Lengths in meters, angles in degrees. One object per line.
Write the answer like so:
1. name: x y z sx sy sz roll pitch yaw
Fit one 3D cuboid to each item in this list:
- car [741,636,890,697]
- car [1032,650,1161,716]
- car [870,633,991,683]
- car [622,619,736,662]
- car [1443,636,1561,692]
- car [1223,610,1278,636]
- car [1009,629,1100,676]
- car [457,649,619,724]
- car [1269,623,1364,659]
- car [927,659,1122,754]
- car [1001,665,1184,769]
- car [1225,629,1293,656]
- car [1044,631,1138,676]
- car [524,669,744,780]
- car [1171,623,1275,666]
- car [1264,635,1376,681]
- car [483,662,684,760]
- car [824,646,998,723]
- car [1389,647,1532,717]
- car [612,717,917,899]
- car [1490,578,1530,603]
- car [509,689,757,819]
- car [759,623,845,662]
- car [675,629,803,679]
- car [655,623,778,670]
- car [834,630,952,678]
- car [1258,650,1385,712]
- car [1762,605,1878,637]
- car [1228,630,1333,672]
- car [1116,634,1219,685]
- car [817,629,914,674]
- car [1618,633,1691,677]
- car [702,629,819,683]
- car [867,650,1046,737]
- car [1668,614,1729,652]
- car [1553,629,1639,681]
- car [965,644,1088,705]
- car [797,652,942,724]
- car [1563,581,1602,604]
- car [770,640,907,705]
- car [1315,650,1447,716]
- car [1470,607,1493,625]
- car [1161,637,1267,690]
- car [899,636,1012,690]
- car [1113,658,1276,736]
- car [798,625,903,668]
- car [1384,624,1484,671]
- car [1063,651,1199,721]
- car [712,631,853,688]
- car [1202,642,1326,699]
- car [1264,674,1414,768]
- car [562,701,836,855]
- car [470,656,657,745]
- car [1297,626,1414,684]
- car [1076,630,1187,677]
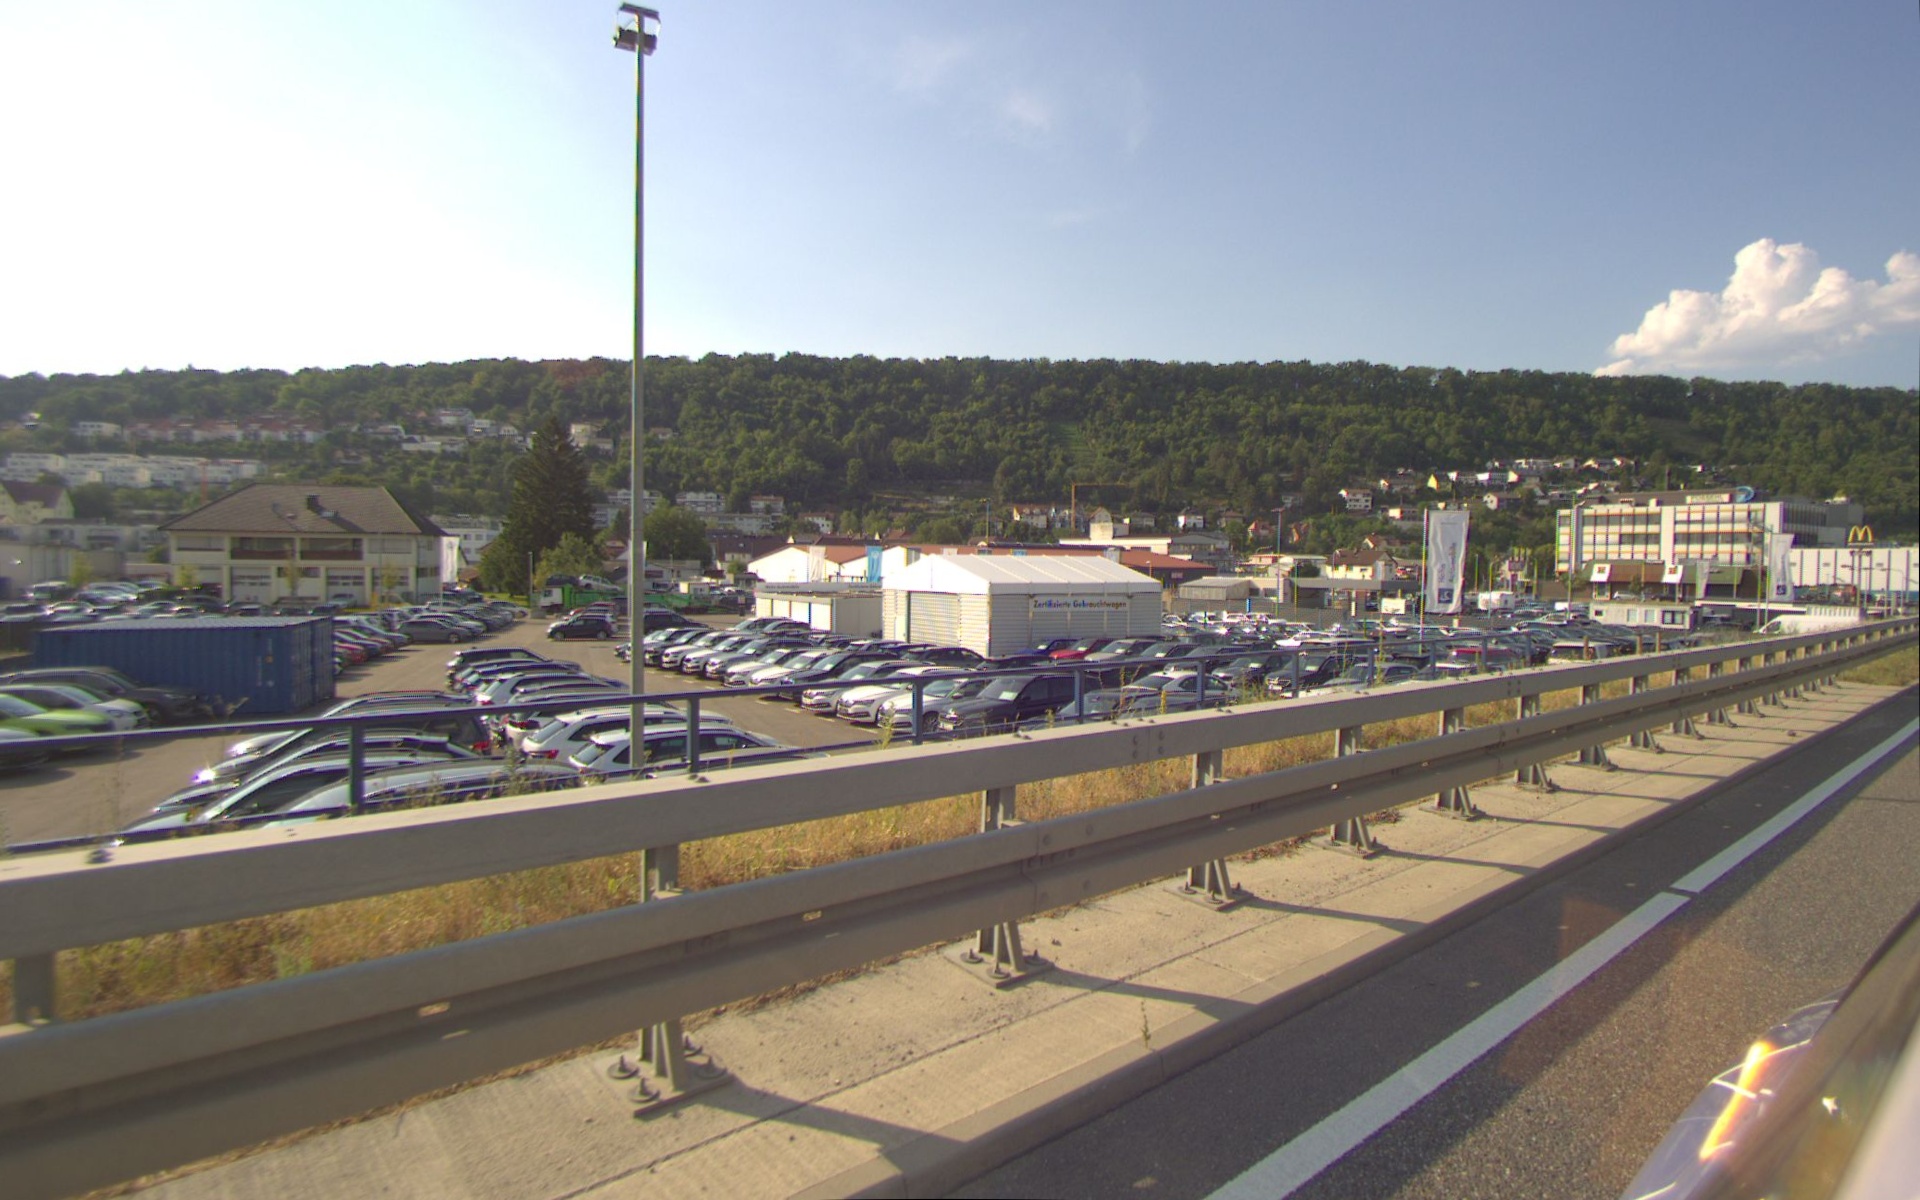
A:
1. car: -4.836 2.178 34.213 4.643 1.656 1.885 -2 1 -37
2. car: 4.403 2.590 32.472 3.924 1.705 1.781 -2 1 -35
3. car: -1.167 2.290 40.892 4.641 1.656 1.885 -2 1 -36
4. car: -12.726 1.778 45.989 4.642 1.656 1.885 -2 1 -36
5. car: 19.435 2.231 36.229 4.641 1.646 1.885 -2 1 -36
6. car: 23.528 1.839 82.096 1.889 1.883 4.001 -1 1 -33
7. car: 4.336 2.359 46.369 3.924 1.703 1.782 -2 5 -35
8. car: -11.938 2.387 28.713 3.926 1.705 1.780 -2 1 -36
9. car: 18.562 2.105 52.870 1.850 1.656 4.441 -2 1 -33
10. car: 1.624 2.443 24.313 4.649 1.671 2.002 -2 1 -42
11. car: 2.942 2.451 22.025 3.931 1.705 1.778 -2 1 -41
12. car: 18.647 2.617 63.299 1.745 1.474 4.005 -1 1 -28
13. car: 5.776 2.311 44.453 3.924 1.705 1.781 -2 1 -35
14. car: -6.651 2.456 20.785 3.926 1.705 1.780 -2 1 -36
15. car: 12.103 2.004 46.515 4.636 1.656 1.887 -2 1 -31
16. car: 15.057 2.385 42.308 4.636 1.541 1.887 -2 1 -31
17. car: -8.480 2.424 22.918 3.926 1.705 1.780 -2 1 -36
18. car: -1.306 2.292 28.335 4.646 1.656 1.883 -2 1 -40
19. car: 15.103 2.400 30.477 4.641 1.646 1.885 -2 1 -36
20. car: -2.720 2.820 14.554 3.930 1.705 1.778 -2 1 -40
21. car: 58.349 -1.046 107.380 5.370 2.581 1.759 -2 1 -38
22. car: -5.910 2.690 18.484 3.927 1.705 1.779 -2 1 -38
23. car: -7.962 2.119 51.072 3.924 1.705 1.781 -2 1 -35
24. car: -8.832 2.126 40.605 4.642 1.656 1.885 -2 1 -36
25. car: -10.166 1.910 42.448 4.642 1.656 1.885 -2 1 -36
26. car: -2.781 2.218 42.521 4.641 1.656 1.885 -2 1 -36
27. car: 12.417 2.697 34.622 4.643 1.656 1.884 -2 1 -38
28. car: 59.480 1.411 70.105 1.964 2.039 5.896 -2 1 -38
29. car: 14.291 2.248 45.040 4.636 1.541 1.887 -2 1 -31
30. car: 8.289 2.342 40.359 3.924 1.705 1.781 -2 1 -35
31. car: -4.178 2.242 44.884 3.924 1.705 1.781 -2 1 -35
32. car: 31.417 2.458 45.722 4.238 1.646 1.740 -2 1 -42
33. car: -7.489 2.059 38.164 3.926 1.705 1.780 -2 1 -36
34. car: -0.021 2.333 26.306 4.588 1.737 1.837 -2 1 -42
35. car: 36.625 1.585 50.176 4.241 1.646 1.738 -2 1 -44
36. car: 24.594 2.047 39.053 1.880 1.646 4.655 0 1 44
37. car: 2.283 2.476 34.388 3.924 1.705 1.781 -2 1 -35
38. car: -2.654 2.550 29.992 3.924 1.705 1.781 -2 1 -35
39. car: 65.291 -0.802 106.099 5.201 2.274 1.759 -2 1 -38
40. car: -3.833 2.237 32.154 3.925 1.705 1.780 -2 1 -36
41. car: 13.673 2.612 32.777 4.643 1.656 1.884 -2 1 -38
42. car: 50.022 1.482 97.188 1.662 1.589 3.747 -1 1 23
43. car: 9.723 2.381 38.675 3.924 1.705 1.781 -2 1 -35
44. car: -0.141 2.329 38.097 3.924 1.705 1.781 -2 1 -35
45. car: 6.625 2.643 28.381 4.642 1.656 1.885 -2 1 -37
46. car: -5.073 2.119 47.007 4.488 1.656 1.885 -2 1 -36
47. car: 17.986 1.754 38.379 3.924 1.490 1.675 -2 1 -35
48. car: 5.177 2.526 30.460 3.924 1.705 1.781 -2 1 -35
49. car: -6.344 2.078 36.437 4.645 1.656 1.884 -2 1 -39
50. car: 11.049 2.495 36.679 4.641 1.656 1.885 -2 1 -36
51. car: 9.076 2.799 24.120 3.767 1.700 1.616 -2 1 -38
52. car: -4.162 2.746 16.466 3.930 1.705 1.778 -2 1 -40
53. car: -9.662 2.367 24.763 3.926 1.705 1.780 -2 1 -36
54. car: 15.766 2.140 40.317 4.636 1.955 1.887 -2 1 -31
55. car: 7.280 2.206 42.814 4.641 1.656 1.885 -2 1 -36
